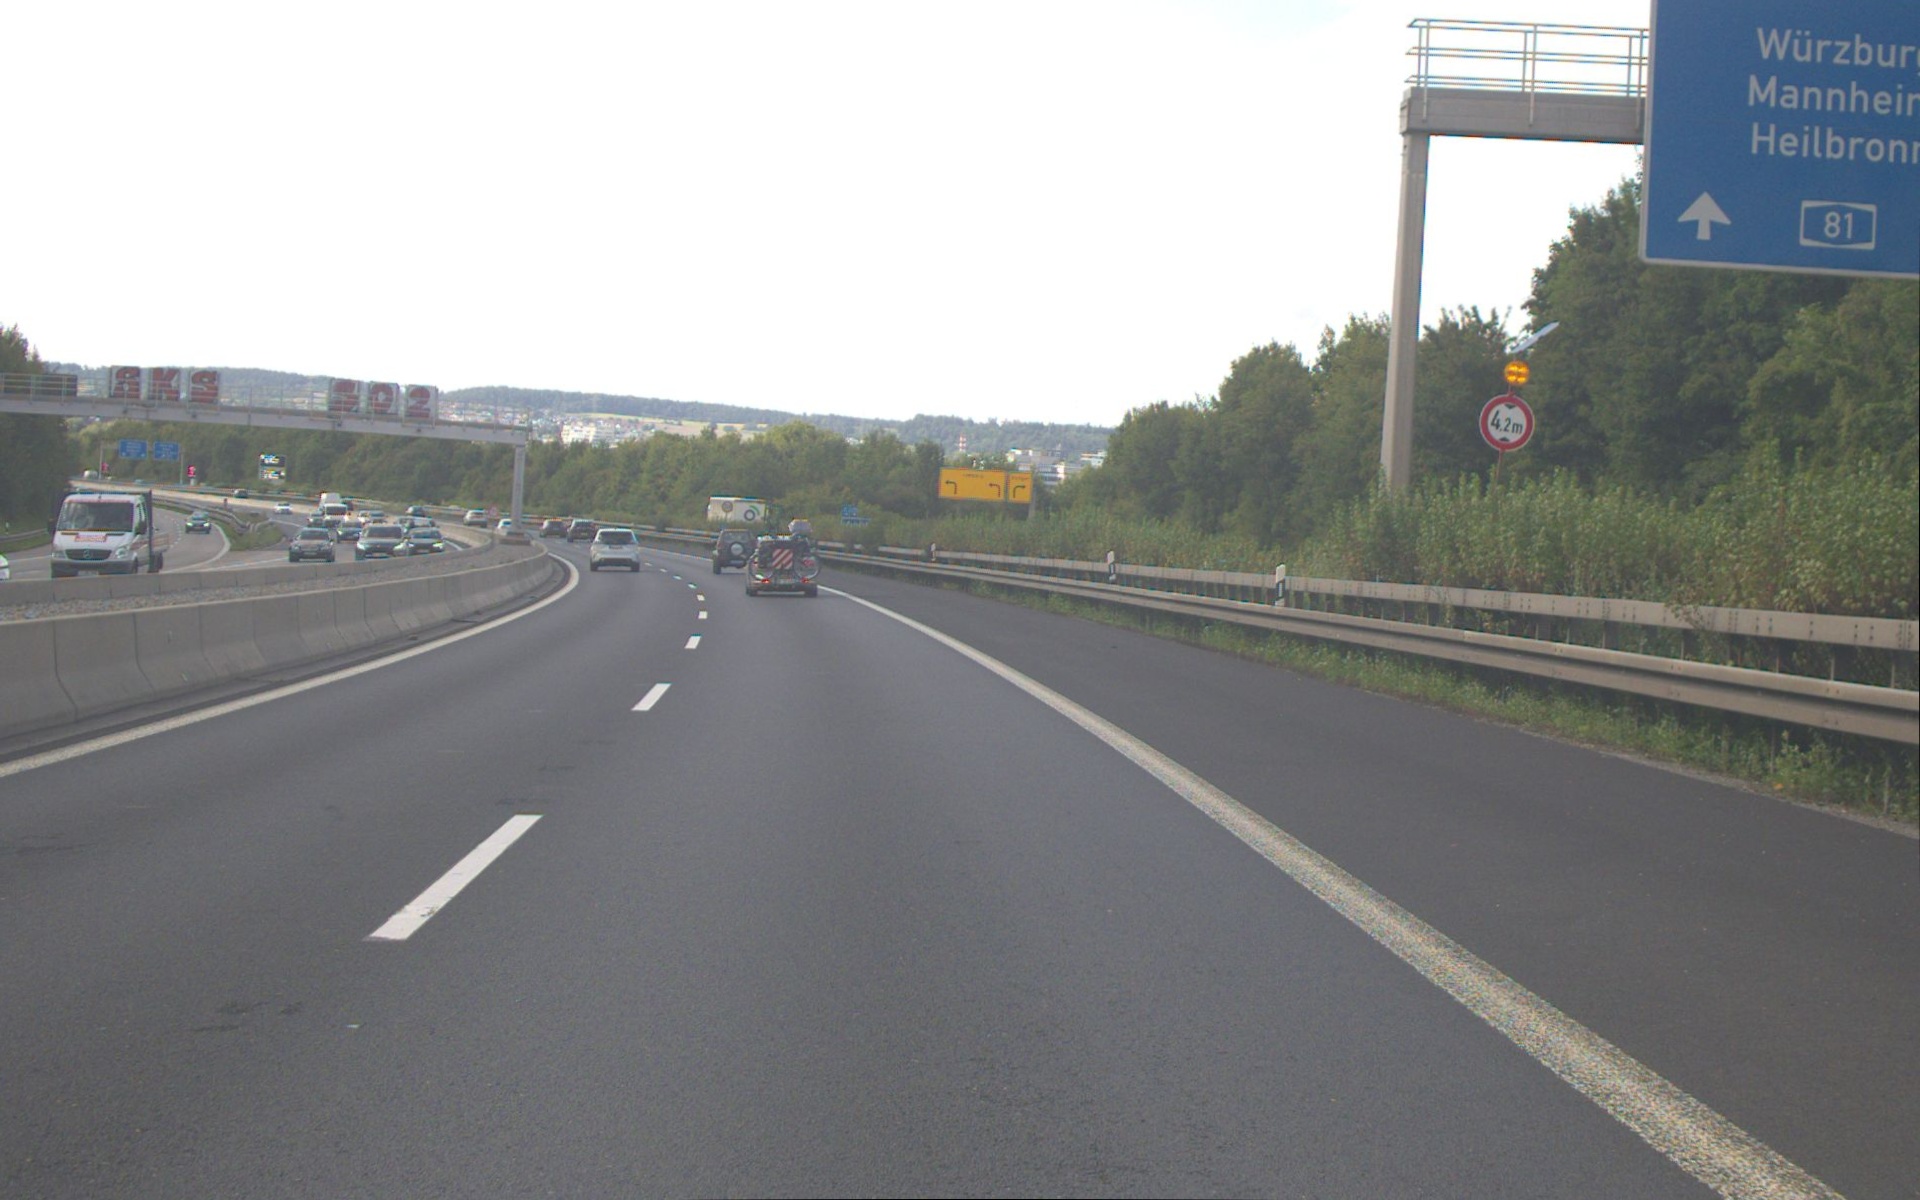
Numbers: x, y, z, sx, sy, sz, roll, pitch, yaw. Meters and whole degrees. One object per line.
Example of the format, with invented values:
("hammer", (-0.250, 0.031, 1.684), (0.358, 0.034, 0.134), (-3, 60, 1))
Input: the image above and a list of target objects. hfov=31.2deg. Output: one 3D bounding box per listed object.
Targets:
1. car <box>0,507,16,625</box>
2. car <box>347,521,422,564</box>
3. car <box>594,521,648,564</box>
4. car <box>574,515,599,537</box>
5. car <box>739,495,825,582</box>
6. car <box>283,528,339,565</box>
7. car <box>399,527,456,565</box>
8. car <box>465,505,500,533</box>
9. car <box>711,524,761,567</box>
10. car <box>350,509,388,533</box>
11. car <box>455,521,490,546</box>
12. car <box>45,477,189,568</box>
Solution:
("car", (-13.785, -0.454, 45.237), (1.801, 1.601, 4.484), (1, 1, -5))
("car", (-21.004, -2.116, 125.684), (1.982, 1.504, 5.962), (1, 1, -3))
("car", (-13.614, -2.291, 137.958), (1.993, 1.678, 4.001), (1, 1, -7))
("car", (-27.173, -5.356, 250.206), (1.604, 1.552, 4.001), (1, 1, -9))
("car", (-4.668, -1.618, 89.618), (2.030, 2.144, 4.001), (1, 2, -6))
("car", (-27.140, -2.261, 143.789), (1.914, 1.504, 4.001), (1, 1, -5))
("car", (-23.265, -2.340, 150.423), (1.993, 1.621, 4.778), (1, 1, -3))
("car", (-30.051, -5.101, 216.415), (1.876, 1.691, 4.315), (1, 1, -5))
("car", (-8.736, -2.136, 133.668), (1.586, 1.591, 4.097), (1, 2, -8))
("car", (-37.990, -5.102, 221.190), (1.993, 1.534, 4.740), (1, 1, -5))
("car", (-29.233, -3.971, 206.203), (1.760, 1.455, 4.296), (1, 1, -5))
("car", (-20.852, -1.908, 85.387), (2.200, 2.122, 8.078), (1, 1, -5))
